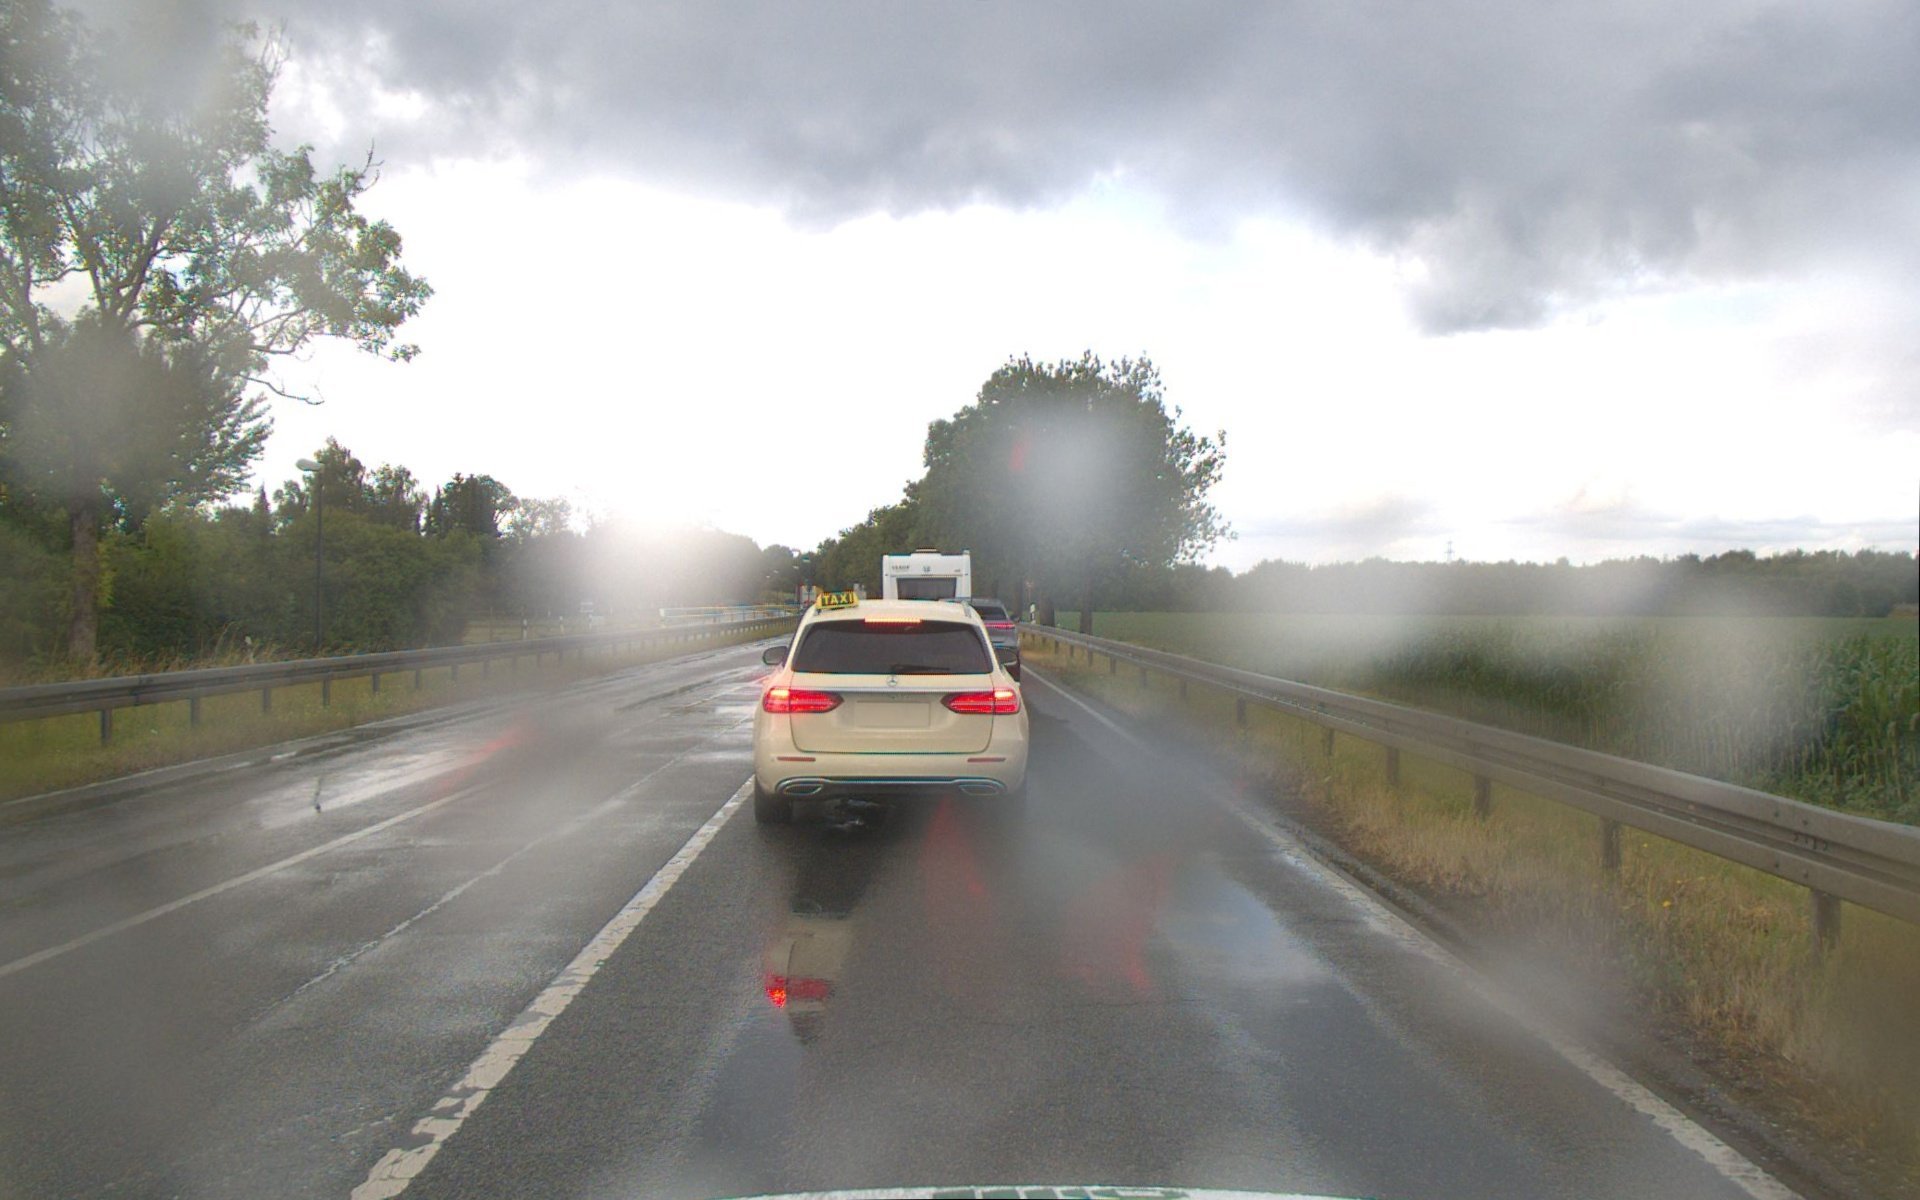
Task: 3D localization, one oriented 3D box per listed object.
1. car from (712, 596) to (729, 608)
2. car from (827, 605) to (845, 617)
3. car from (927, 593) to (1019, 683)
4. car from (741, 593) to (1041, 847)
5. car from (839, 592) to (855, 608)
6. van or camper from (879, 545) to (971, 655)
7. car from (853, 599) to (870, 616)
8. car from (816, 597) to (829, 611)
[{"bbox_3d":[-34.725,0.283,239.936,1.952,1.680,4.000,0,0,1],"label":"car"},{"bbox_3d":[-14.196,1.265,189.403,1.723,1.291,3.999,0,0,-1],"label":"car"},{"bbox_3d":[0.200,0.648,30.647,1.594,1.556,3.932,0,0,-1],"label":"car"},{"bbox_3d":[-0.395,0.716,11.937,1.787,1.511,4.145,0,0,0],"label":"car"},{"bbox_3d":[-14.583,0.037,214.154,1.954,2.049,3.998,0,0,-3],"label":"car"},{"bbox_3d":[-0.906,-0.017,44.114,2.303,2.727,5.767,0,0,-1],"label":"van or camper"},{"bbox_3d":[-11.874,0.917,200.110,1.955,2.087,3.996,0,0,-5],"label":"car"},{"bbox_3d":[-21.235,0.584,255.456,1.955,2.049,3.995,0,0,-6],"label":"car"}]
